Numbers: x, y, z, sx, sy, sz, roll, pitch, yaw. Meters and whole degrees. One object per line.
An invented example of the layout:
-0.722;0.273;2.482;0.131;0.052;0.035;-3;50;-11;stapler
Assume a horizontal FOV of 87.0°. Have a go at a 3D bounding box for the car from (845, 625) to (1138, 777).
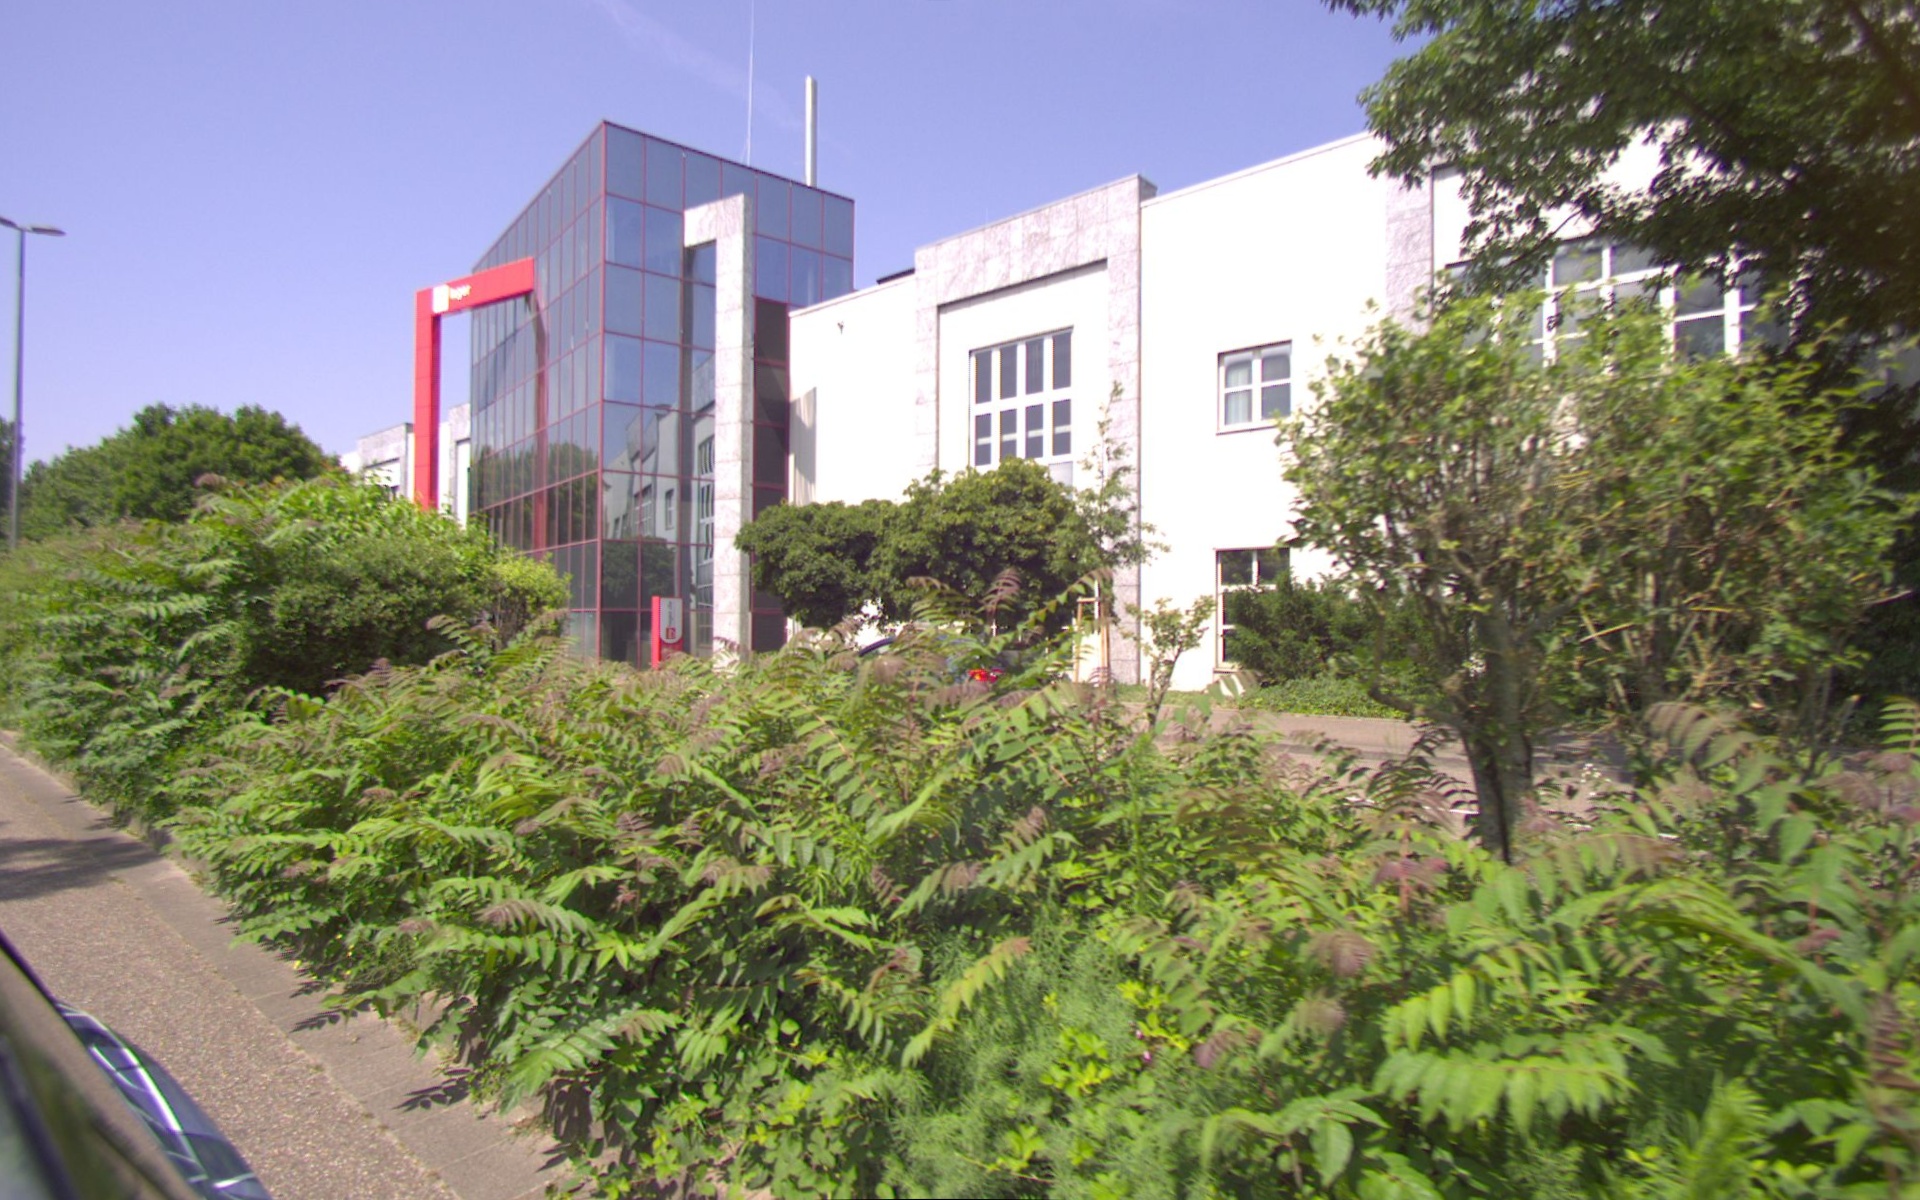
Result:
0.335;1.194;13.352;3.628;1.664;1.671;0;0;41;car
